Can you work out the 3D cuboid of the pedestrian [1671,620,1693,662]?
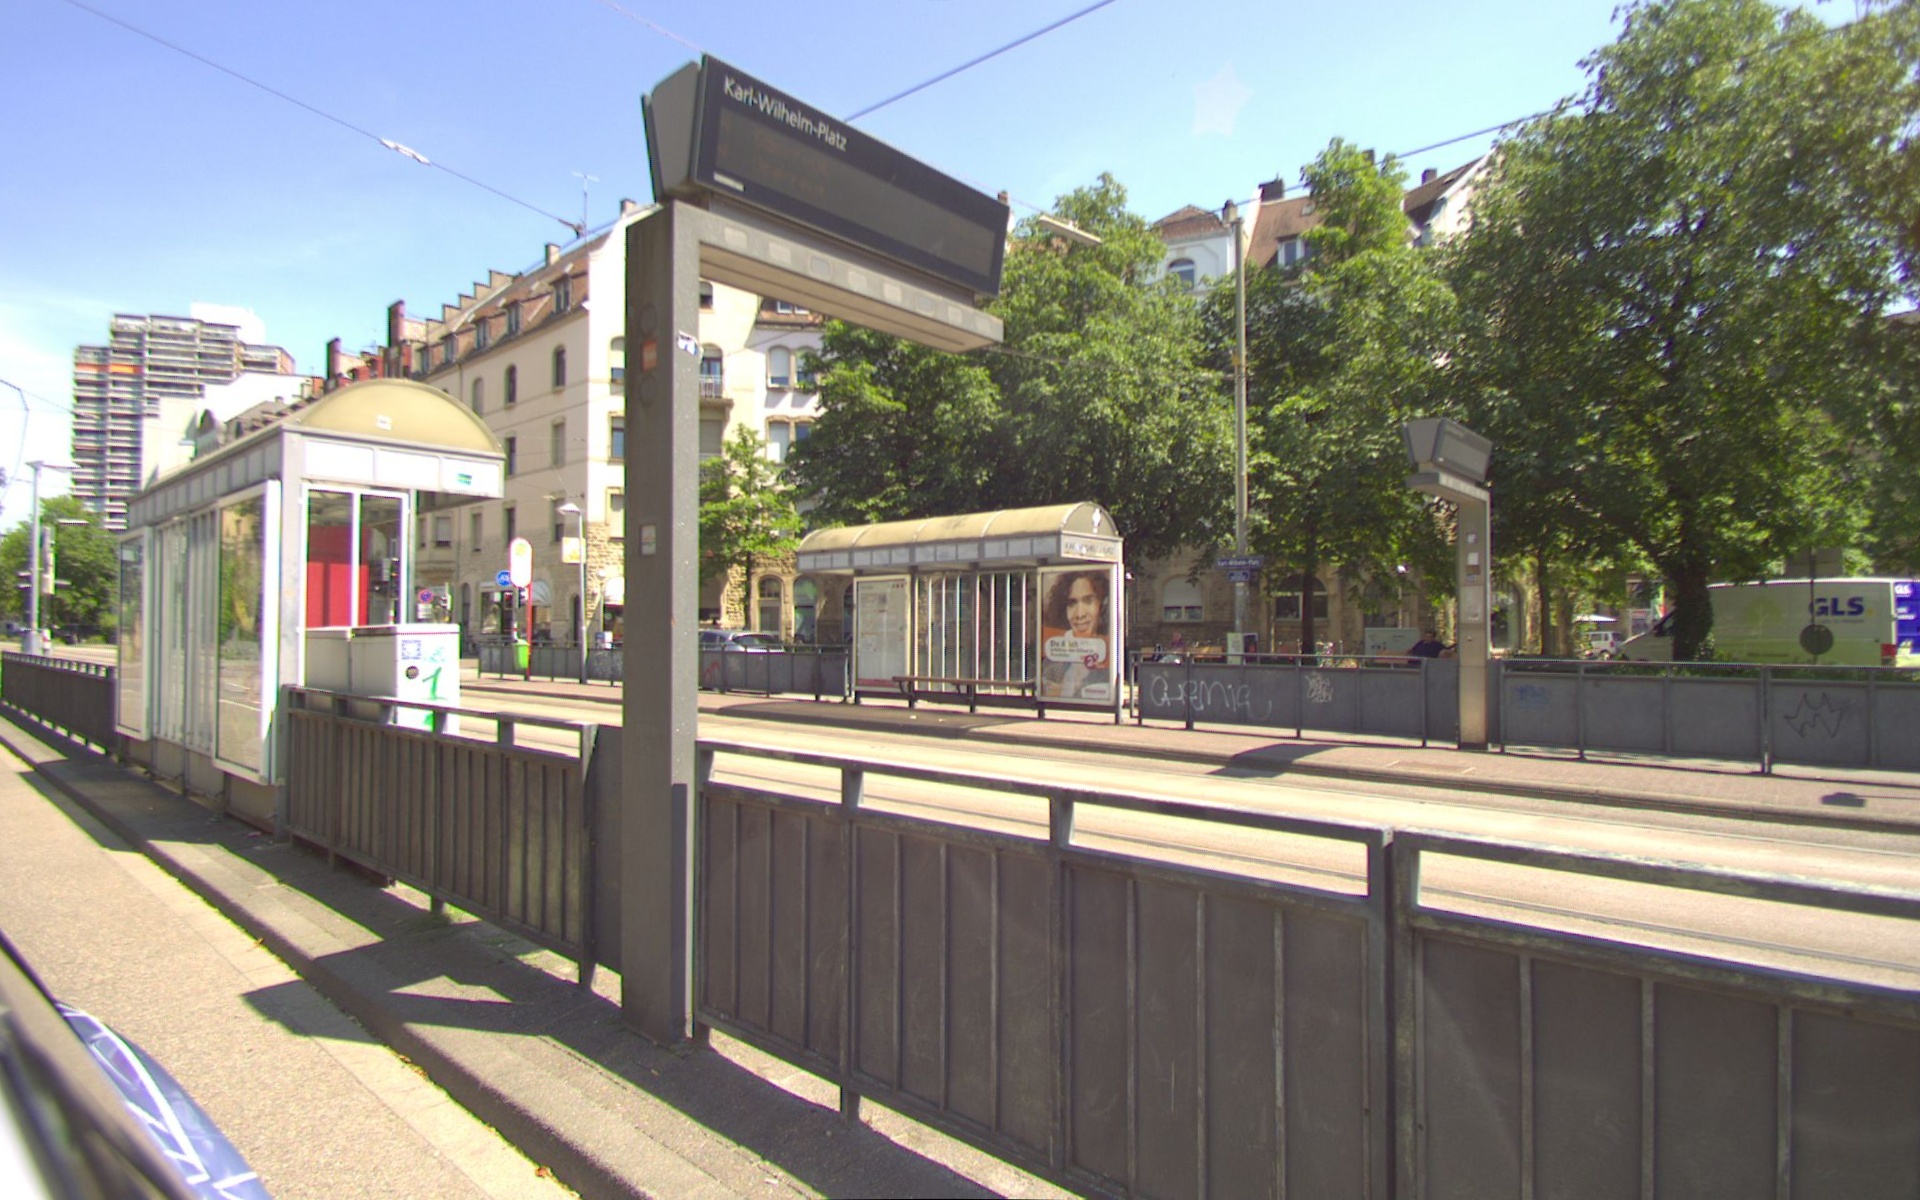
[{"bbox_3d":[28.967,1.630,40.587,0.483,1.683,0.517,1,-2,-27],"label":"pedestrian"}]

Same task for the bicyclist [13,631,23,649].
[{"bbox_3d":[-97.466,4.132,104.674,0.715,1.889,0.636,-1,0,39],"label":"bicyclist"}]

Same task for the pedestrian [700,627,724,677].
[{"bbox_3d":[-7.962,1.657,32.486,0.473,1.563,0.586,-2,-3,39],"label":"pedestrian"}]

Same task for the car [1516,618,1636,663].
[{"bbox_3d":[26.724,1.702,44.001,1.966,1.803,4.011,-1,0,-33],"label":"car"}]

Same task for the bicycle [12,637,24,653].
[{"bbox_3d":[-97.459,4.653,104.684,1.969,1.524,0.636,-1,0,39],"label":"bicycle"}]

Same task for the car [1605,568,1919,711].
[{"bbox_3d":[17.802,0.753,22.223,2.235,2.693,5.847,-1,0,-23],"label":"car"}]

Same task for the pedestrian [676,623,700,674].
[{"bbox_3d":[-8.879,1.571,33.047,0.473,1.659,0.586,-2,-3,41],"label":"pedestrian"}]

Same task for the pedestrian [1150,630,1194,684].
[{"bbox_3d":[5.099,1.355,24.307,0.930,1.253,0.860,-1,0,17],"label":"pedestrian"}]

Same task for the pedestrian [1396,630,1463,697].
[{"bbox_3d":[9.288,1.238,20.032,0.852,1.253,0.939,-1,0,-43],"label":"pedestrian"}]

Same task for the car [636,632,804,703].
[{"bbox_3d":[-5.593,1.489,23.354,3.998,1.404,1.789,-1,0,41],"label":"car"}]
